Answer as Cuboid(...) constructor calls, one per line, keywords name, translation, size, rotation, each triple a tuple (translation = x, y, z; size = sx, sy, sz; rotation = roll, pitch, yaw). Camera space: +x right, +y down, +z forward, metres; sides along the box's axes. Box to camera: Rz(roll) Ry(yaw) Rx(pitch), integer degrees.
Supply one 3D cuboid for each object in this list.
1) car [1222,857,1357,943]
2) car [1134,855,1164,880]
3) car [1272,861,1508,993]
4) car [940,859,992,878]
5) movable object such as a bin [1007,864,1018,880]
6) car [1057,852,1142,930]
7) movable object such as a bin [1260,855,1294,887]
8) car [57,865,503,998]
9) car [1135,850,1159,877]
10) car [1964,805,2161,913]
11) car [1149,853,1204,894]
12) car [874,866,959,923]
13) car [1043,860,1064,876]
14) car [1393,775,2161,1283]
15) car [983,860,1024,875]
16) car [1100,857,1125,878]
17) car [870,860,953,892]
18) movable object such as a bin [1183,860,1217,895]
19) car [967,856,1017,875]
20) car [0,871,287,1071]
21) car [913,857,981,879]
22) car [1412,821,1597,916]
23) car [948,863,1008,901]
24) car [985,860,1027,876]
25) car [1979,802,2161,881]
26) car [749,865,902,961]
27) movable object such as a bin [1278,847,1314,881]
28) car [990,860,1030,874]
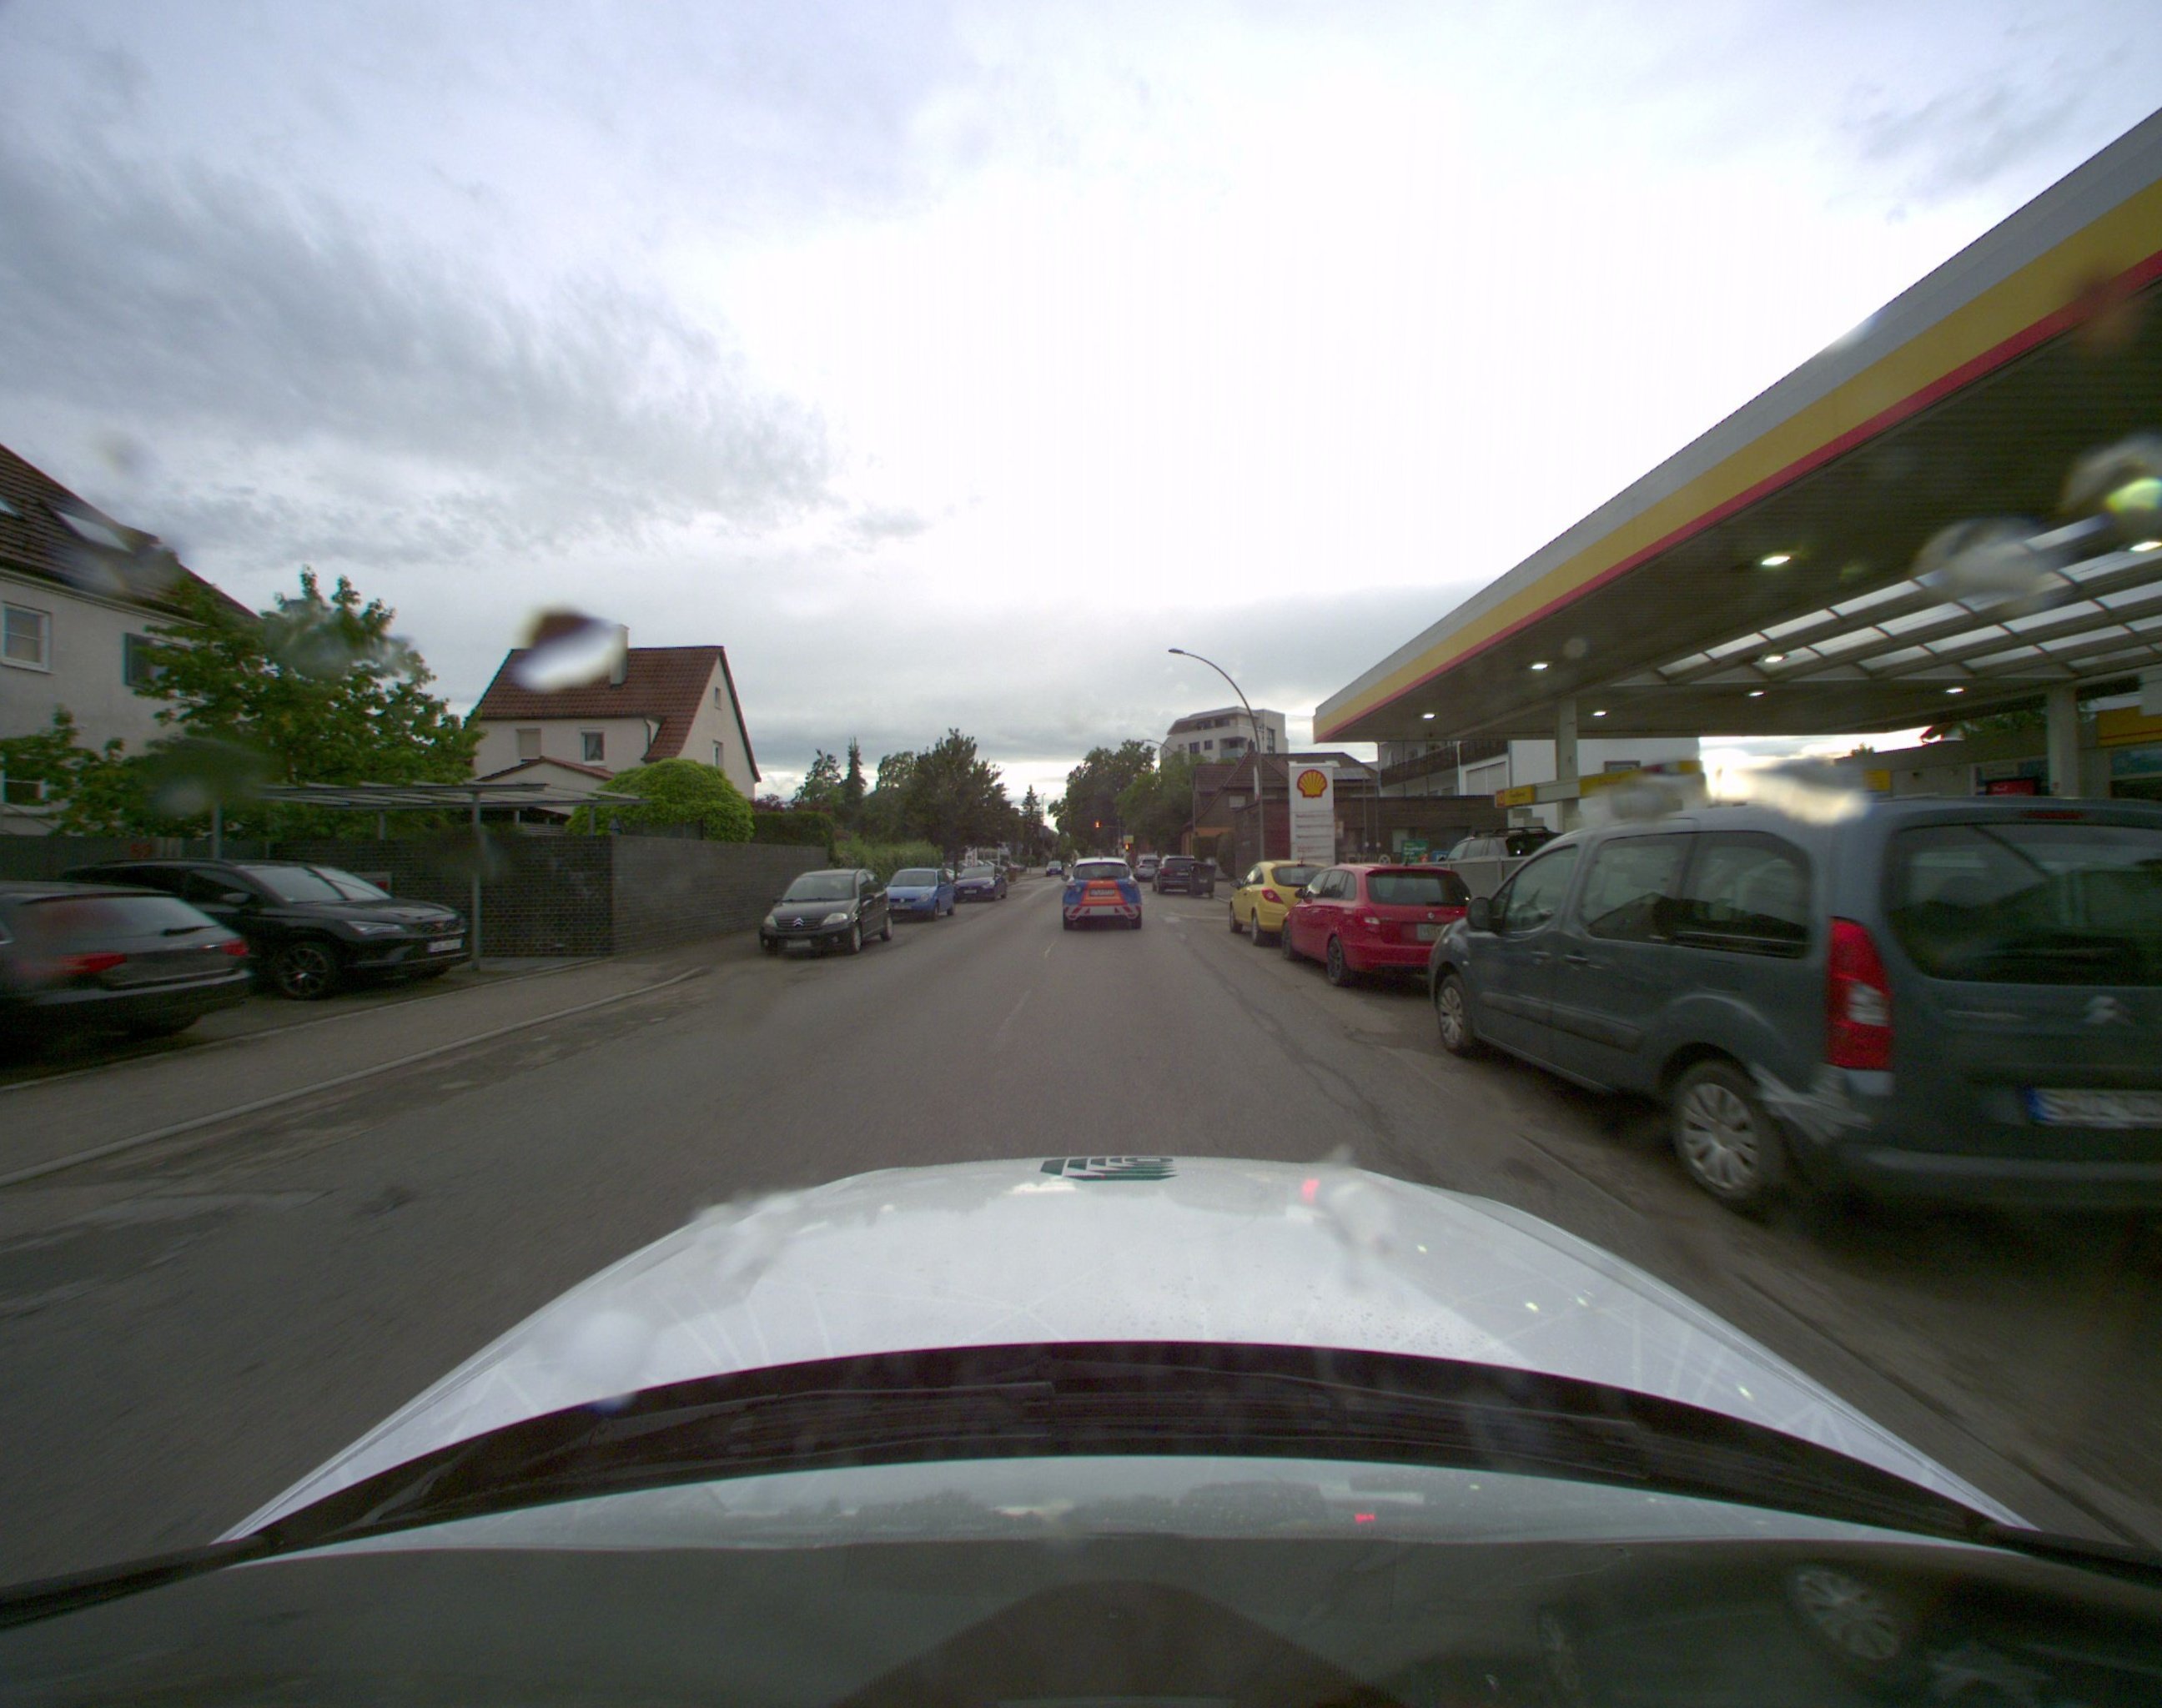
Cuboid(name="car", translation=(3.788, 0.775, 15.420), size=(1.650, 1.402, 3.802), rotation=(-1, 0, 1))
Cuboid(name="car", translation=(4.806, 0.916, 57.827), size=(1.859, 1.665, 4.321), rotation=(0, 0, 1))
Cuboid(name="car", translation=(3.793, 0.802, 10.765), size=(1.650, 1.376, 4.025), rotation=(-1, 0, 1))
Cuboid(name="car", translation=(-9.388, 1.174, 66.650), size=(3.971, 1.464, 1.840), rotation=(-1, 0, 2))
Cuboid(name="movable object such as a bin", translation=(-4.951, 1.333, 59.254), size=(0.705, 1.130, 0.735), rotation=(0, -1, 2))
Cuboid(name="car", translation=(0.445, 0.767, 19.052), size=(1.739, 1.581, 4.001), rotation=(-2, 0, 1))
Cuboid(name="movable object such as a bin", translation=(8.404, 0.727, 34.979), size=(1.098, 1.340, 1.384), rotation=(-1, 0, -1))
Cuboid(name="car", translation=(-9.575, 0.881, 10.015), size=(3.578, 1.457, 1.754), rotation=(0, -1, -4))
Cuboid(name="car", translation=(5.143, 0.685, 63.955), size=(1.770, 2.029, 4.759), rotation=(0, 1, 4))
Cuboid(name="car", translation=(15.518, 0.046, 11.204), size=(1.734, 1.466, 4.674), rotation=(-1, 0, 1))
Cuboid(name="car", translation=(4.238, 0.822, 36.762), size=(2.083, 1.662, 4.560), rotation=(0, 1, 1))
Cuboid(name="car", translation=(-4.623, 1.099, 23.368), size=(1.540, 1.403, 3.598), rotation=(-3, 0, 2))
Cuboid(name="car", translation=(-2.677, 1.355, 79.967), size=(1.620, 1.433, 3.686), rotation=(-1, 0, 3))
Cuboid(name="car", translation=(3.588, 0.618, 5.051), size=(1.650, 1.738, 4.445), rotation=(1, 0, 1))
Cuboid(name="car", translation=(-7.984, 1.363, 84.132), size=(3.969, 1.544, 1.805), rotation=(0, 0, 3))
Cuboid(name="car", translation=(2.531, 1.074, 66.949), size=(1.987, 1.574, 4.001), rotation=(0, 1, 1))
Cuboid(name="car", translation=(-10.021, 1.282, 48.448), size=(4.547, 1.790, 1.896), rotation=(-1, 0, -3))
Cuboid(name="movable object such as a bin", translation=(4.858, 0.948, 33.262), size=(1.123, 1.388, 1.503), rotation=(-1, 0, -1))
Cuboid(name="car", translation=(-8.288, 1.057, 76.108), size=(4.331, 1.690, 1.960), rotation=(-1, 0, 2))
Cuboid(name="car", translation=(-9.486, 0.876, 6.719), size=(4.073, 1.414, 1.713), rotation=(0, 0, -2))
Cuboid(name="car", translation=(-9.269, 0.956, 56.678), size=(4.361, 1.374, 1.889), rotation=(-1, 0, 1))
Cuboid(name="car", translation=(8.894, 0.278, 17.544), size=(1.814, 1.759, 3.998), rotation=(-1, 0, -1))
Cuboid(name="car", translation=(-4.203, 1.116, 33.764), size=(1.800, 1.403, 3.946), rotation=(-3, 0, 2))
Cuboid(name="car", translation=(-7.467, 1.345, 81.215), size=(3.969, 1.544, 1.805), rotation=(0, 0, 3))
Cuboid(name="car", translation=(20.988, -0.255, 16.367), size=(1.734, 1.466, 3.780), rotation=(-1, 0, 1))
Cuboid(name="car", translation=(-4.705, 1.021, 15.545), size=(1.602, 1.506, 3.708), rotation=(-2, 0, 2))
Cuboid(name="movable object such as a bin", translation=(8.799, 0.395, 33.373), size=(1.098, 1.340, 1.384), rotation=(-1, 0, -1))
Cuboid(name="car", translation=(-7.539, 1.379, 86.920), size=(3.969, 1.441, 1.805), rotation=(0, 0, 3))
